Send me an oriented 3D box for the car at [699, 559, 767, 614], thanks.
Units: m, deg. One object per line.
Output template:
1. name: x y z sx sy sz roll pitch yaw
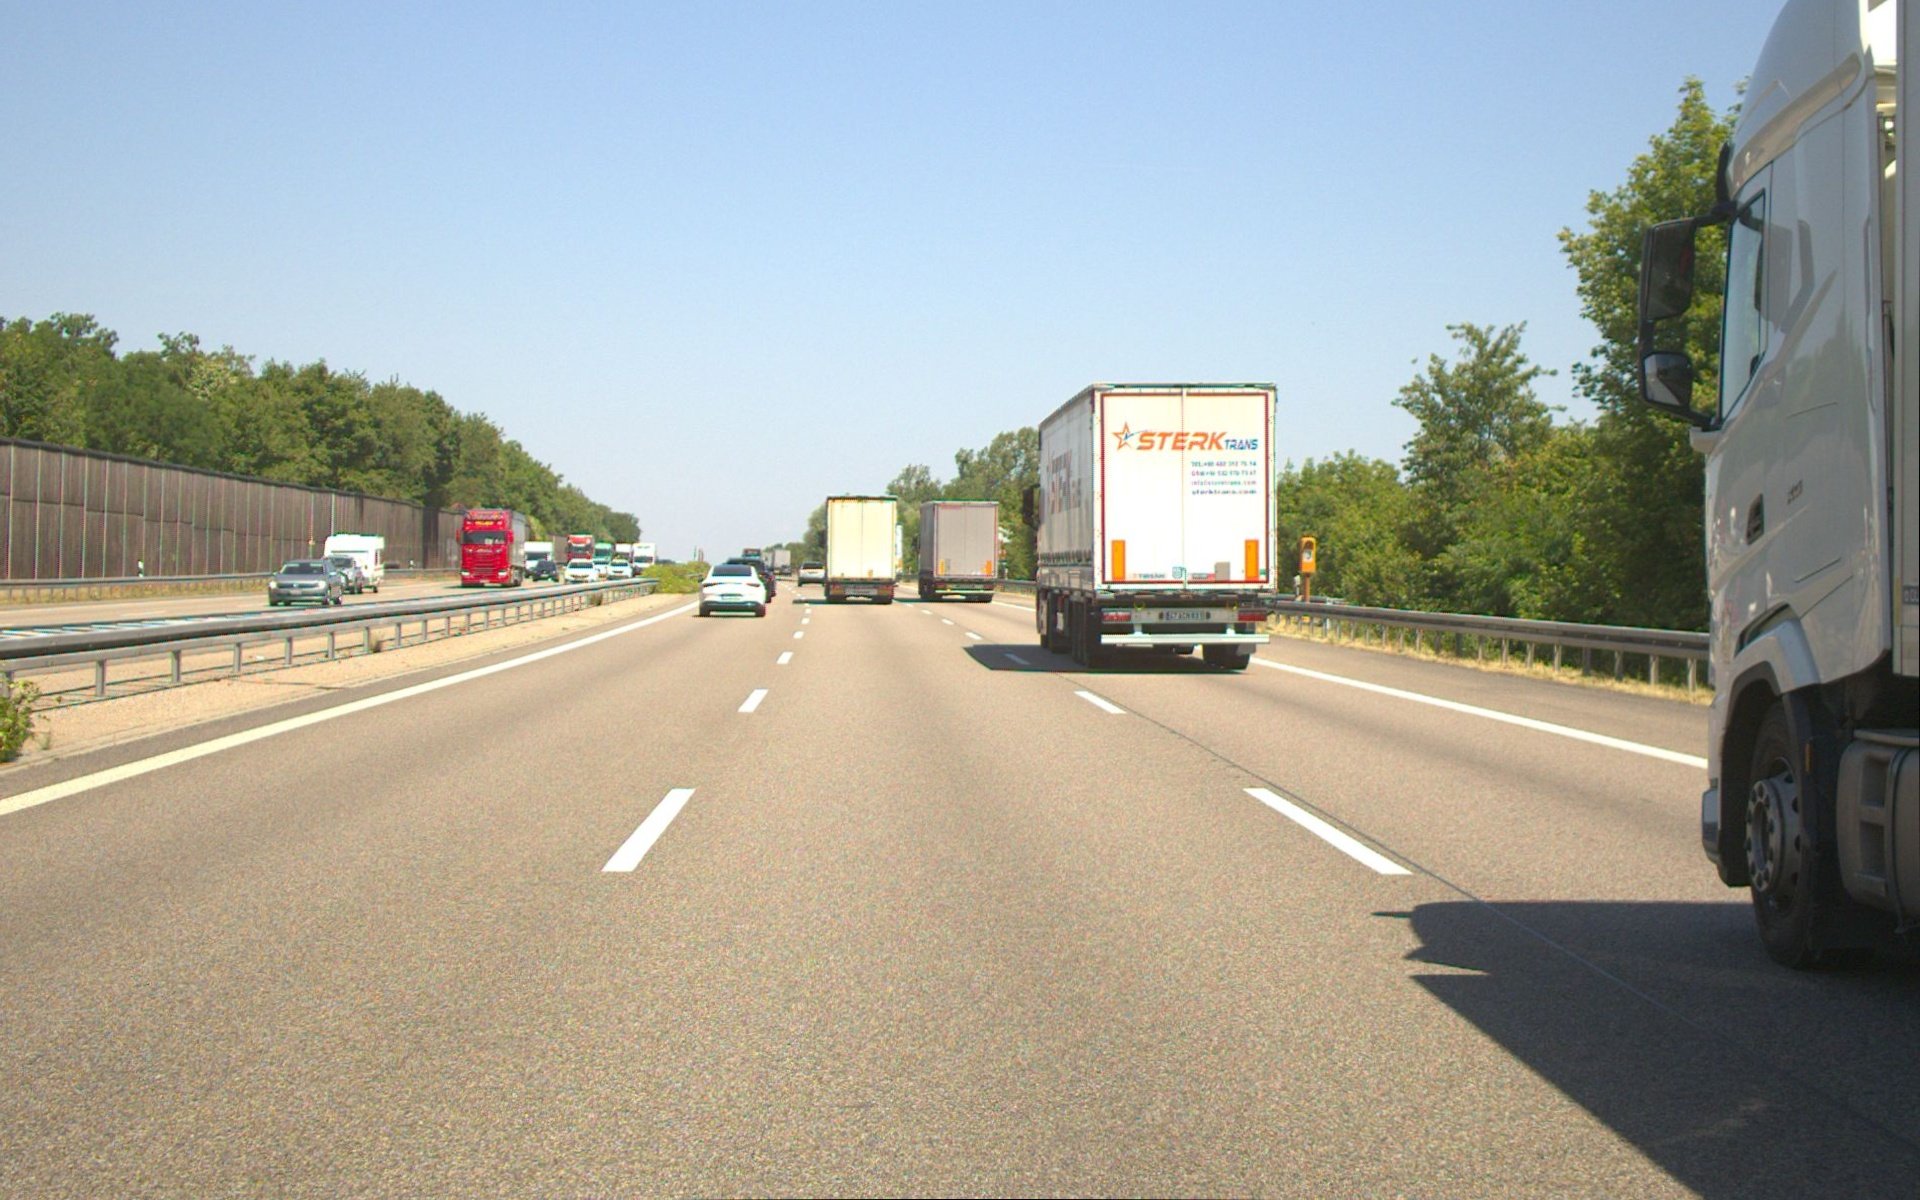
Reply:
1. car: -6.406 -0.393 96.948 1.855 1.481 4.001 1 1 -4

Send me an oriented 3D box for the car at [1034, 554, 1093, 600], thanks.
1. car: 3.786 -0.854 126.325 1.855 1.611 4.000 1 1 -2

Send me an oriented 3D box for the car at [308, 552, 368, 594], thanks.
1. car: -26.139 -1.133 144.507 1.899 1.705 4.907 1 1 -3

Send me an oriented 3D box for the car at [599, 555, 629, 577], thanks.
1. car: -24.287 -2.406 241.589 1.805 1.538 4.246 1 1 -2

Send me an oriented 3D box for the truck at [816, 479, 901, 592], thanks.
1. truck: -4.020 -2.418 133.385 2.706 4.072 13.475 2 0 -4

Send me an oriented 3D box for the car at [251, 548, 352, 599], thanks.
1. car: -20.616 -0.849 107.853 2.124 1.517 5.983 1 1 -1

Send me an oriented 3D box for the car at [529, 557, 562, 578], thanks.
1. car: -28.066 -2.180 232.948 1.919 1.370 4.582 1 1 -3

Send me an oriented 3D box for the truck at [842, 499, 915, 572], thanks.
1. truck: -5.270 -4.108 220.327 3.373 4.289 11.452 4 0 -6

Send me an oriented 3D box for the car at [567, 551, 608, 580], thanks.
1. car: -20.168 -1.884 186.356 1.899 1.515 4.419 1 1 -2

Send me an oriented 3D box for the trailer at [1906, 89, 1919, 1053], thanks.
1. trailer: 4.477 -0.623 3.938 2.959 4.092 12.533 1 1 -2

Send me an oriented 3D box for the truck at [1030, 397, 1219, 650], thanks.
1. truck: 2.755 -1.283 59.680 2.707 4.074 6.965 1 0 -1

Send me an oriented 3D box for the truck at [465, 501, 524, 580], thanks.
1. truck: -24.560 -3.141 181.565 2.358 4.062 7.154 1 1 -2

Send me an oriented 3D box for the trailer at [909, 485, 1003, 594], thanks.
1. trailer: -0.244 -2.442 141.942 2.703 4.201 13.214 2 0 -5

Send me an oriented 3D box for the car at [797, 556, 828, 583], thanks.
1. car: -9.116 -1.867 212.406 1.855 1.611 4.000 1 1 -2

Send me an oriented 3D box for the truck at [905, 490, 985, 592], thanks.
1. truck: -0.686 -2.489 147.423 2.691 4.201 7.839 2 0 -5

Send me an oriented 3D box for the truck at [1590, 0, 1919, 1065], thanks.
1. truck: 4.308 -0.669 11.761 2.959 4.092 6.207 1 1 -2

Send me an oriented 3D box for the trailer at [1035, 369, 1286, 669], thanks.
1. trailer: 2.913 -1.184 54.411 2.707 4.074 14.152 1 1 -2

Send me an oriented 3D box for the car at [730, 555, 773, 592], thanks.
1. car: -9.319 -1.213 154.019 1.855 1.611 4.000 1 1 -3

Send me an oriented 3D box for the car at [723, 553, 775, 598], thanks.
1. car: -7.825 -0.905 127.707 1.855 1.611 4.000 1 1 -3

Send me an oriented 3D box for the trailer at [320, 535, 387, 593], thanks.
1. trailer: -26.463 -1.600 150.079 2.131 2.468 6.269 1 1 -3
